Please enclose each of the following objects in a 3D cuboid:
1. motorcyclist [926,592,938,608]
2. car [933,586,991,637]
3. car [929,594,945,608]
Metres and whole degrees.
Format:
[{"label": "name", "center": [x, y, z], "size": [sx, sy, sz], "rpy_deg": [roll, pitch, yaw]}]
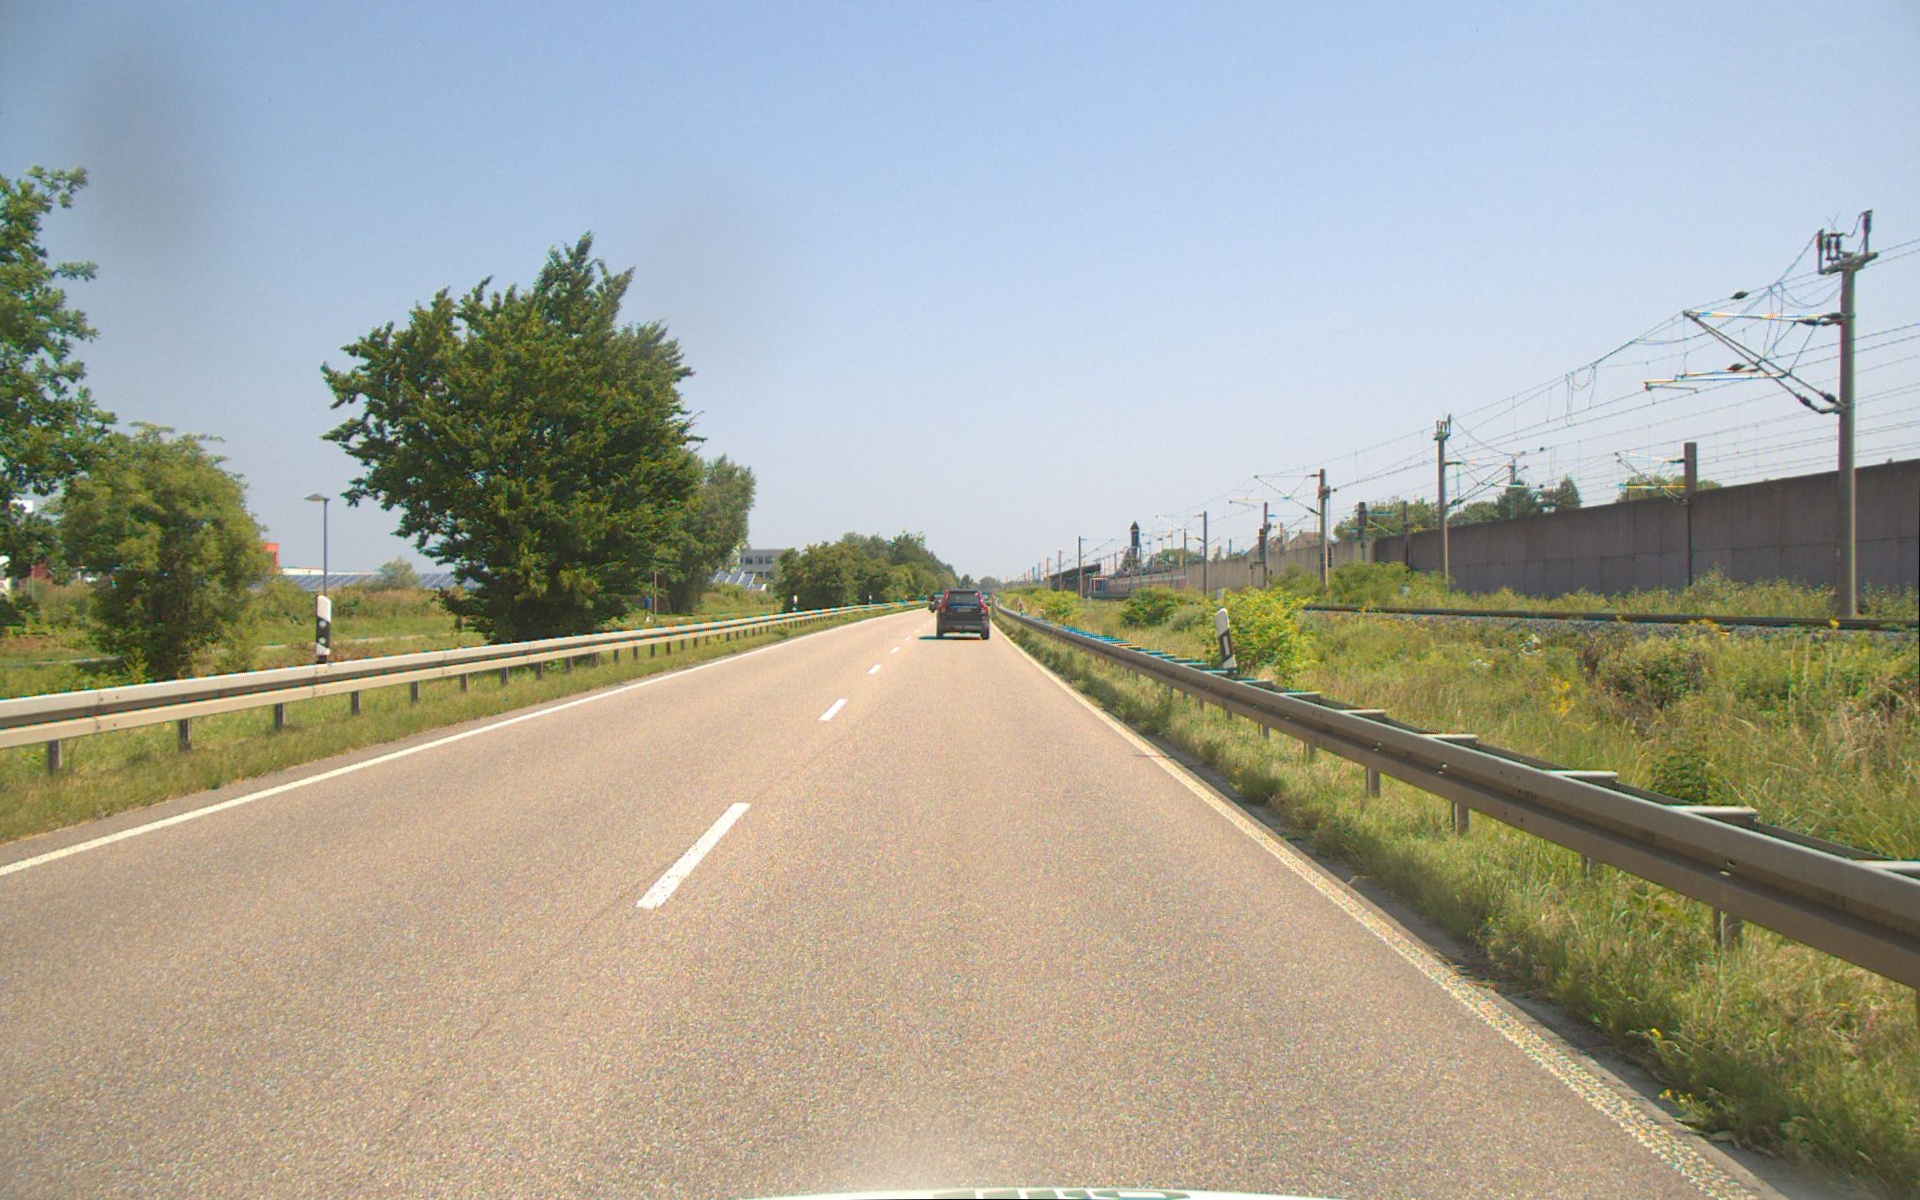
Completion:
[{"label": "motorcyclist", "center": [-2.408, 0.022, 139.986], "size": [0.973, 1.332, 0.935], "rpy_deg": [1, 0, 0]}, {"label": "car", "center": [0.034, 0.408, 58.332], "size": [1.953, 1.730, 3.999], "rpy_deg": [0, 0, -1]}, {"label": "car", "center": [-2.645, 0.131, 190.838], "size": [1.663, 1.500, 4.686], "rpy_deg": [1, 0, 0]}]
